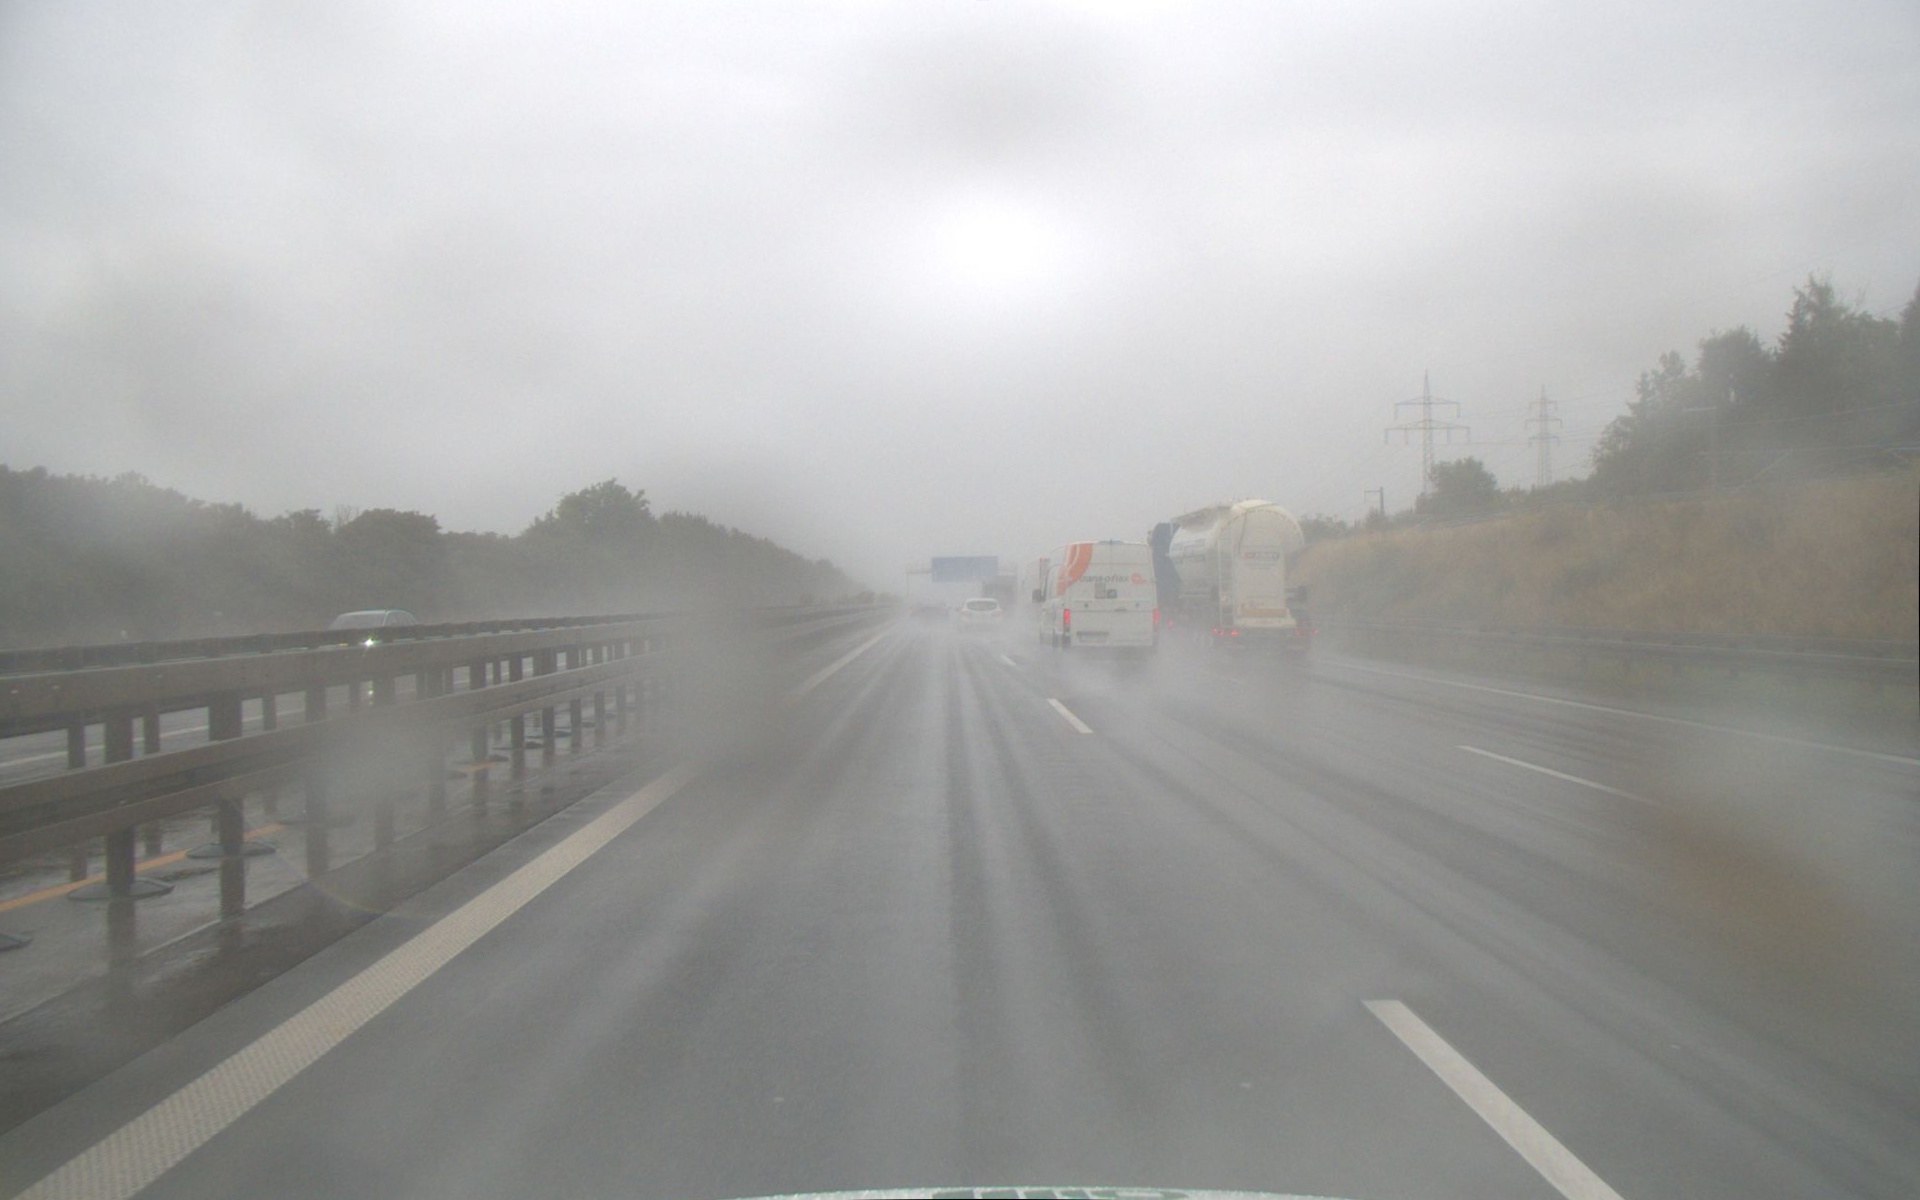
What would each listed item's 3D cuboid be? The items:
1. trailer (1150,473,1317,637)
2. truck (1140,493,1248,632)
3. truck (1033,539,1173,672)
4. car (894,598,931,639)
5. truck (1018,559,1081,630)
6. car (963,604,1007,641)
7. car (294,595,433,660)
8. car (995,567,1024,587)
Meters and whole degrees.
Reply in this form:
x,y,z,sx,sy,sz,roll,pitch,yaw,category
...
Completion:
x,y,z,sx,sy,sz,roll,pitch,yaw,category
7.277,-1.090,45.691,2.447,3.950,11.062,1,0,-2,trailer
7.163,-1.115,51.192,2.446,4.053,5.074,1,0,-2,truck
2.879,0.103,34.530,2.370,2.536,5.559,1,0,-1,truck
-2.207,0.851,77.491,1.667,1.850,3.861,1,0,-1,car
6.159,-0.233,116.752,2.978,4.668,16.343,1,-1,-2,truck
0.953,0.862,64.455,1.573,1.361,3.847,1,0,-1,car
-15.233,0.674,42.496,1.953,1.557,4.653,1,0,-1,car
5.280,-2.407,177.147,2.732,2.049,4.991,1,0,-1,car
